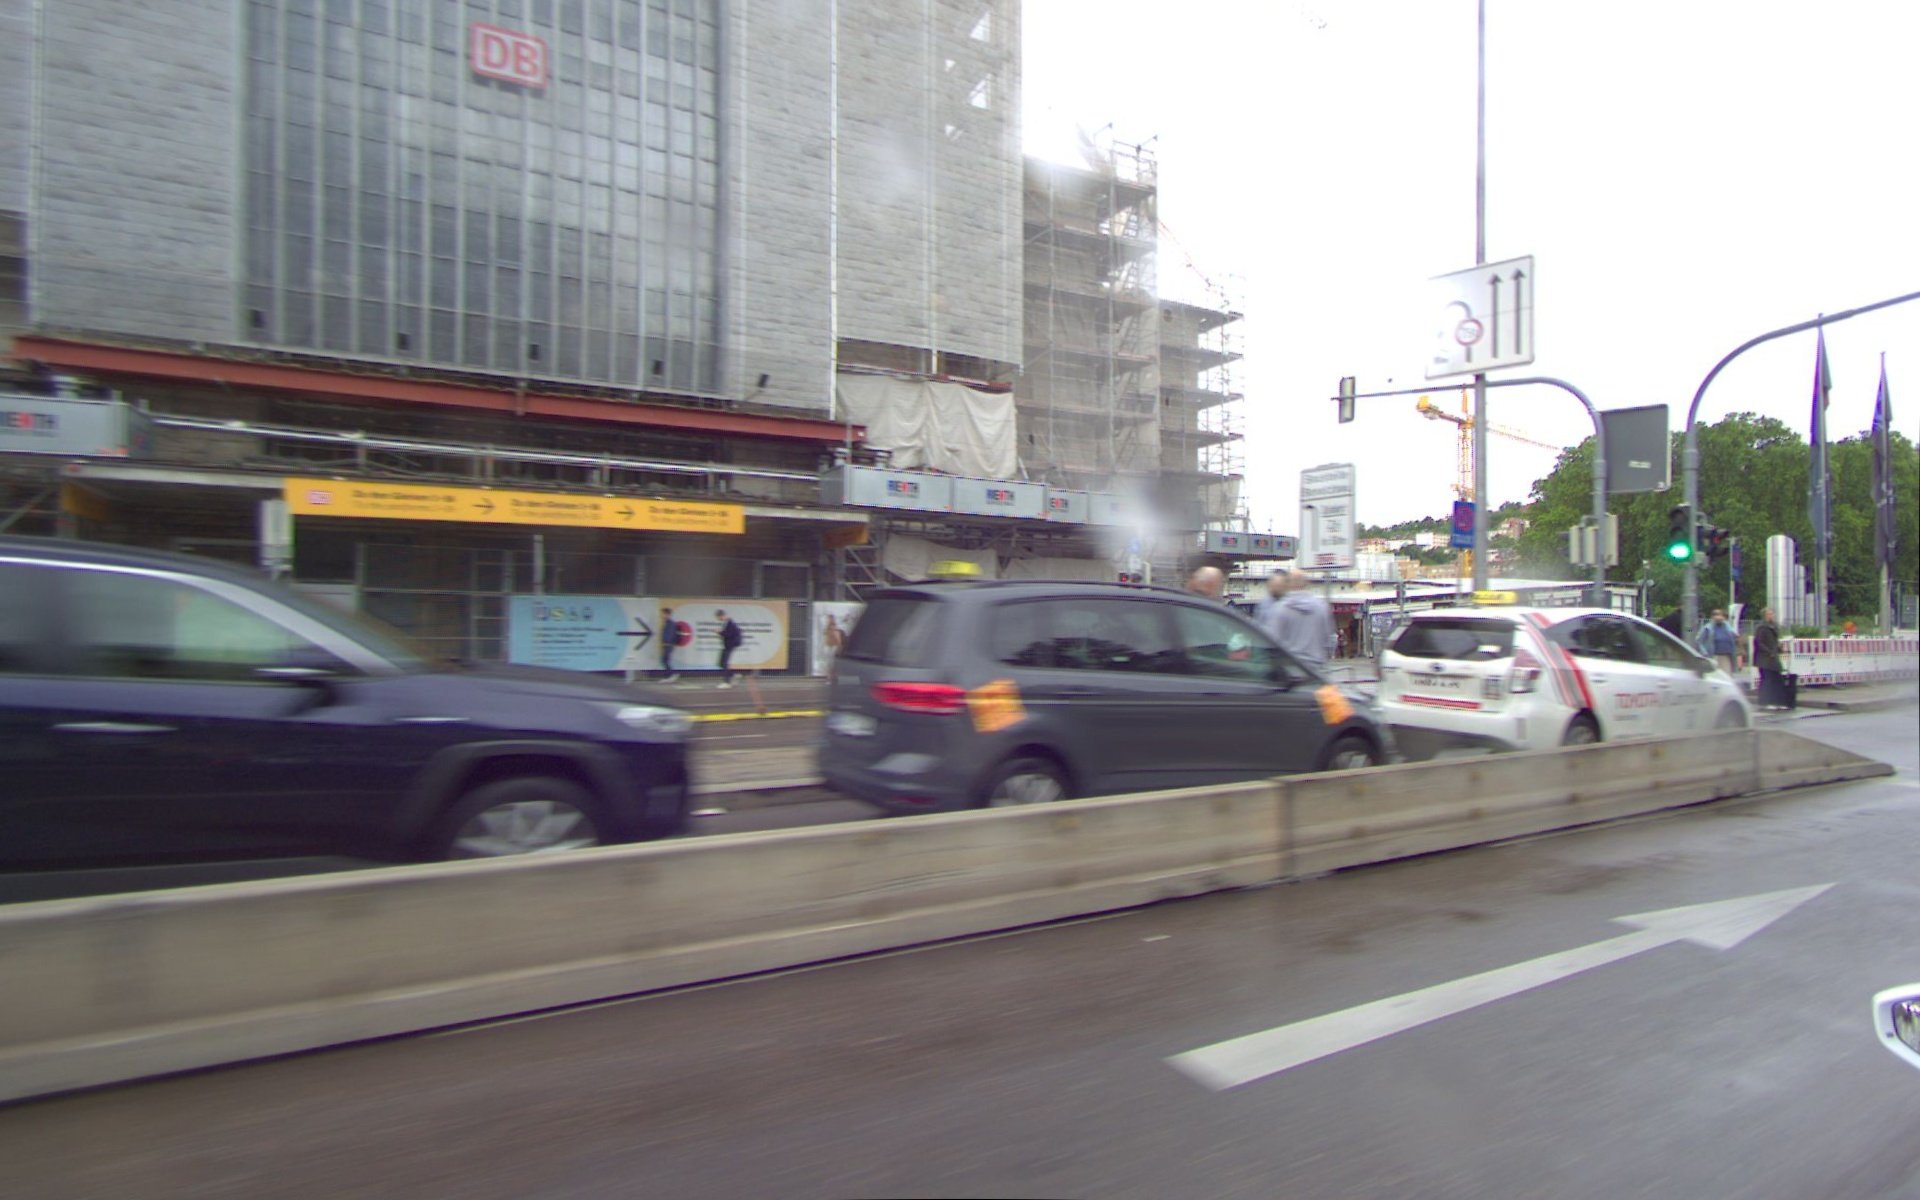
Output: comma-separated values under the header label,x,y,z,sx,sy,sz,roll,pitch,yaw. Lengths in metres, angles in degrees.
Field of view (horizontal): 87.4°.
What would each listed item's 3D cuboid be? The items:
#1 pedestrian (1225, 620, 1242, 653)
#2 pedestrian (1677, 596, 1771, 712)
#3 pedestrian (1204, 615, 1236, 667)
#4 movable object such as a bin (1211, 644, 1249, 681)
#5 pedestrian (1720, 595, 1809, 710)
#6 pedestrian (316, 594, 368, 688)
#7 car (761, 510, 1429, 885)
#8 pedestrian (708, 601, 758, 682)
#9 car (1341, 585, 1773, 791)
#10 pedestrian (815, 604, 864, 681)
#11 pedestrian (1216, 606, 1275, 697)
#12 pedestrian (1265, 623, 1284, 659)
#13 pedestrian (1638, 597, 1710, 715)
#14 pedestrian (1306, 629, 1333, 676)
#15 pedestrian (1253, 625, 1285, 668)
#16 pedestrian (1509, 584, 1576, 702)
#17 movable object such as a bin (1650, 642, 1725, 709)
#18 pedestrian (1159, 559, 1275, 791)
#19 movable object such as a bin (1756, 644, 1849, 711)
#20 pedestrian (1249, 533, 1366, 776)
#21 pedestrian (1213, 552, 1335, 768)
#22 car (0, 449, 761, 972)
label,x,y,z,sx,sy,sz,roll,pitch,yaw
pedestrian,16.056,2.173,59.069,0.788,1.906,0.659,2,-2,0
pedestrian,13.086,0.908,17.227,0.802,1.911,1.006,1,-1,-7
pedestrian,9.802,1.547,37.898,1.007,1.906,0.836,1,-2,1
movable object such as a bin,7.579,1.755,28.226,0.713,0.983,0.755,2,-1,-31
pedestrian,13.832,0.883,17.294,0.670,1.911,1.006,1,-1,-7
pedestrian,-12.594,0.830,20.487,0.760,1.865,0.535,1,0,-20
car,1.084,0.570,7.035,4.556,1.917,1.706,2,-1,-30
pedestrian,-5.319,0.960,23.541,0.925,1.865,0.815,2,-1,-30
car,6.184,0.808,10.265,4.611,1.708,1.778,2,-1,-30
pedestrian,-2.995,1.055,24.981,0.982,1.865,0.723,2,-1,-30
pedestrian,5.455,0.968,19.211,0.827,1.686,0.710,2,-1,-30
pedestrian,17.266,2.247,55.182,0.785,1.906,0.662,2,-2,0
pedestrian,11.882,0.906,16.715,0.685,1.911,0.823,1,0,-39
pedestrian,14.743,2.159,41.218,0.843,1.906,0.717,2,-2,0
pedestrian,12.390,1.857,40.243,1.007,1.685,0.836,2,-2,0
pedestrian,8.890,0.650,15.323,0.747,1.758,0.580,1,-1,-30
movable object such as a bin,12.473,1.286,17.242,0.735,1.090,0.744,1,-1,-7
pedestrian,2.383,0.673,9.322,0.826,2.040,0.618,1,0,-30
movable object such as a bin,14.541,1.319,17.359,0.735,1.090,1.006,1,-1,-7
pedestrian,3.085,0.469,8.914,0.881,2.040,0.524,1,0,-32
pedestrian,3.115,0.573,10.056,1.007,2.040,0.837,1,0,8
car,-3.533,0.402,4.516,4.792,1.810,1.984,2,-1,-31
